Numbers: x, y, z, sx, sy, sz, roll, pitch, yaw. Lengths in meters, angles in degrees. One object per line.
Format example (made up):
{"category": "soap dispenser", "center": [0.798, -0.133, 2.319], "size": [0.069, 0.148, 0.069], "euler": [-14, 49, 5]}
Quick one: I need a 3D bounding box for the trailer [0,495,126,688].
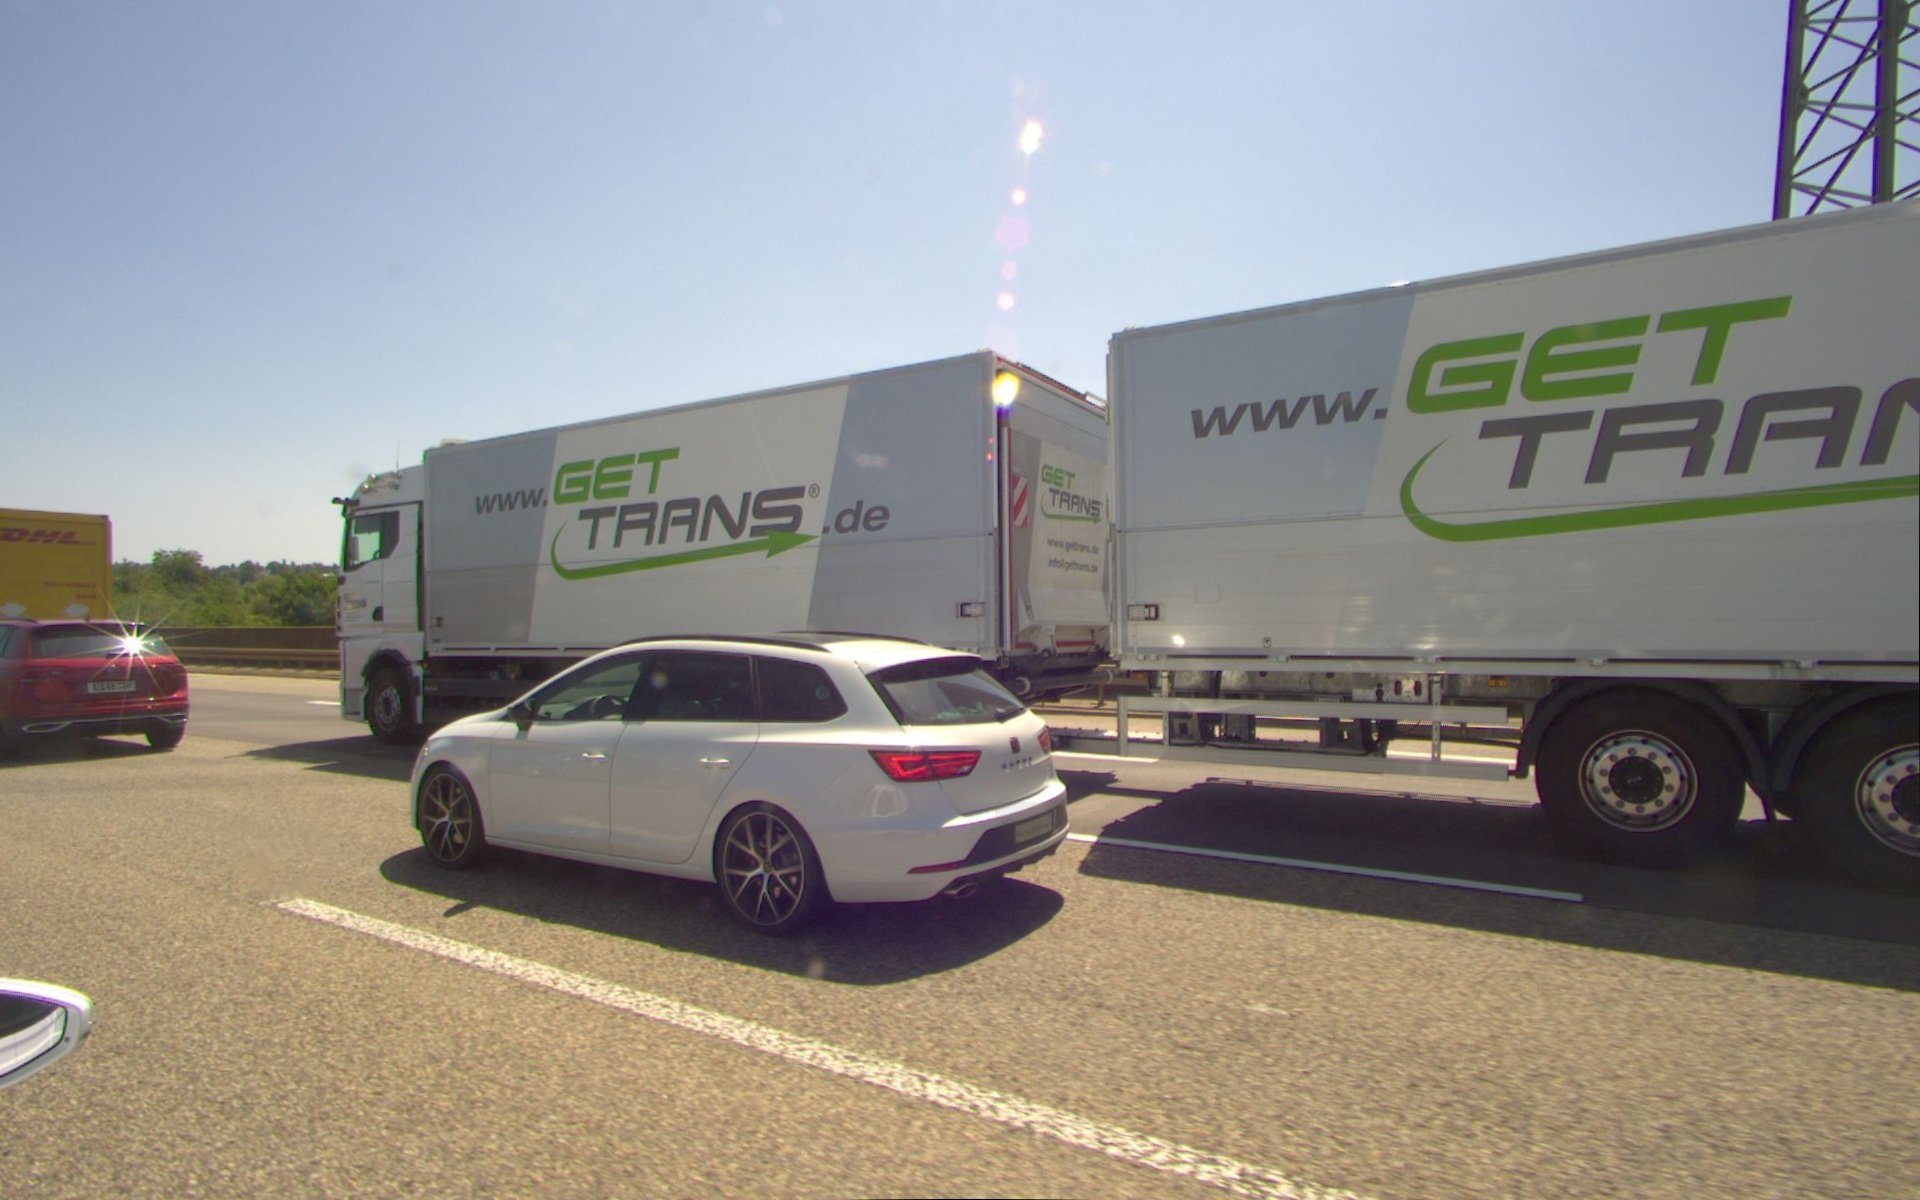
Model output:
{"category": "trailer", "center": [-24.059, -0.062, 24.596], "size": [8.849, 4.140, 2.679], "euler": [-1, -2, 31]}

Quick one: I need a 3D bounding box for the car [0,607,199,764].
{"category": "car", "center": [-11.648, 0.970, 12.760], "size": [4.223, 1.701, 1.705], "euler": [-1, 0, 32]}

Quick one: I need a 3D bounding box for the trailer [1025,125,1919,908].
{"category": "trailer", "center": [4.695, -0.362, 6.819], "size": [8.096, 3.941, 2.894], "euler": [-1, -2, 32]}

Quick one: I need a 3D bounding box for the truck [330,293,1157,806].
{"category": "truck", "center": [-3.176, -0.243, 11.755], "size": [10.457, 3.984, 2.847], "euler": [-1, -2, 32]}

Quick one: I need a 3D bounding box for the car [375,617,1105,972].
{"category": "car", "center": [-1.481, 0.854, 6.058], "size": [4.364, 1.470, 1.706], "euler": [0, -1, 32]}
